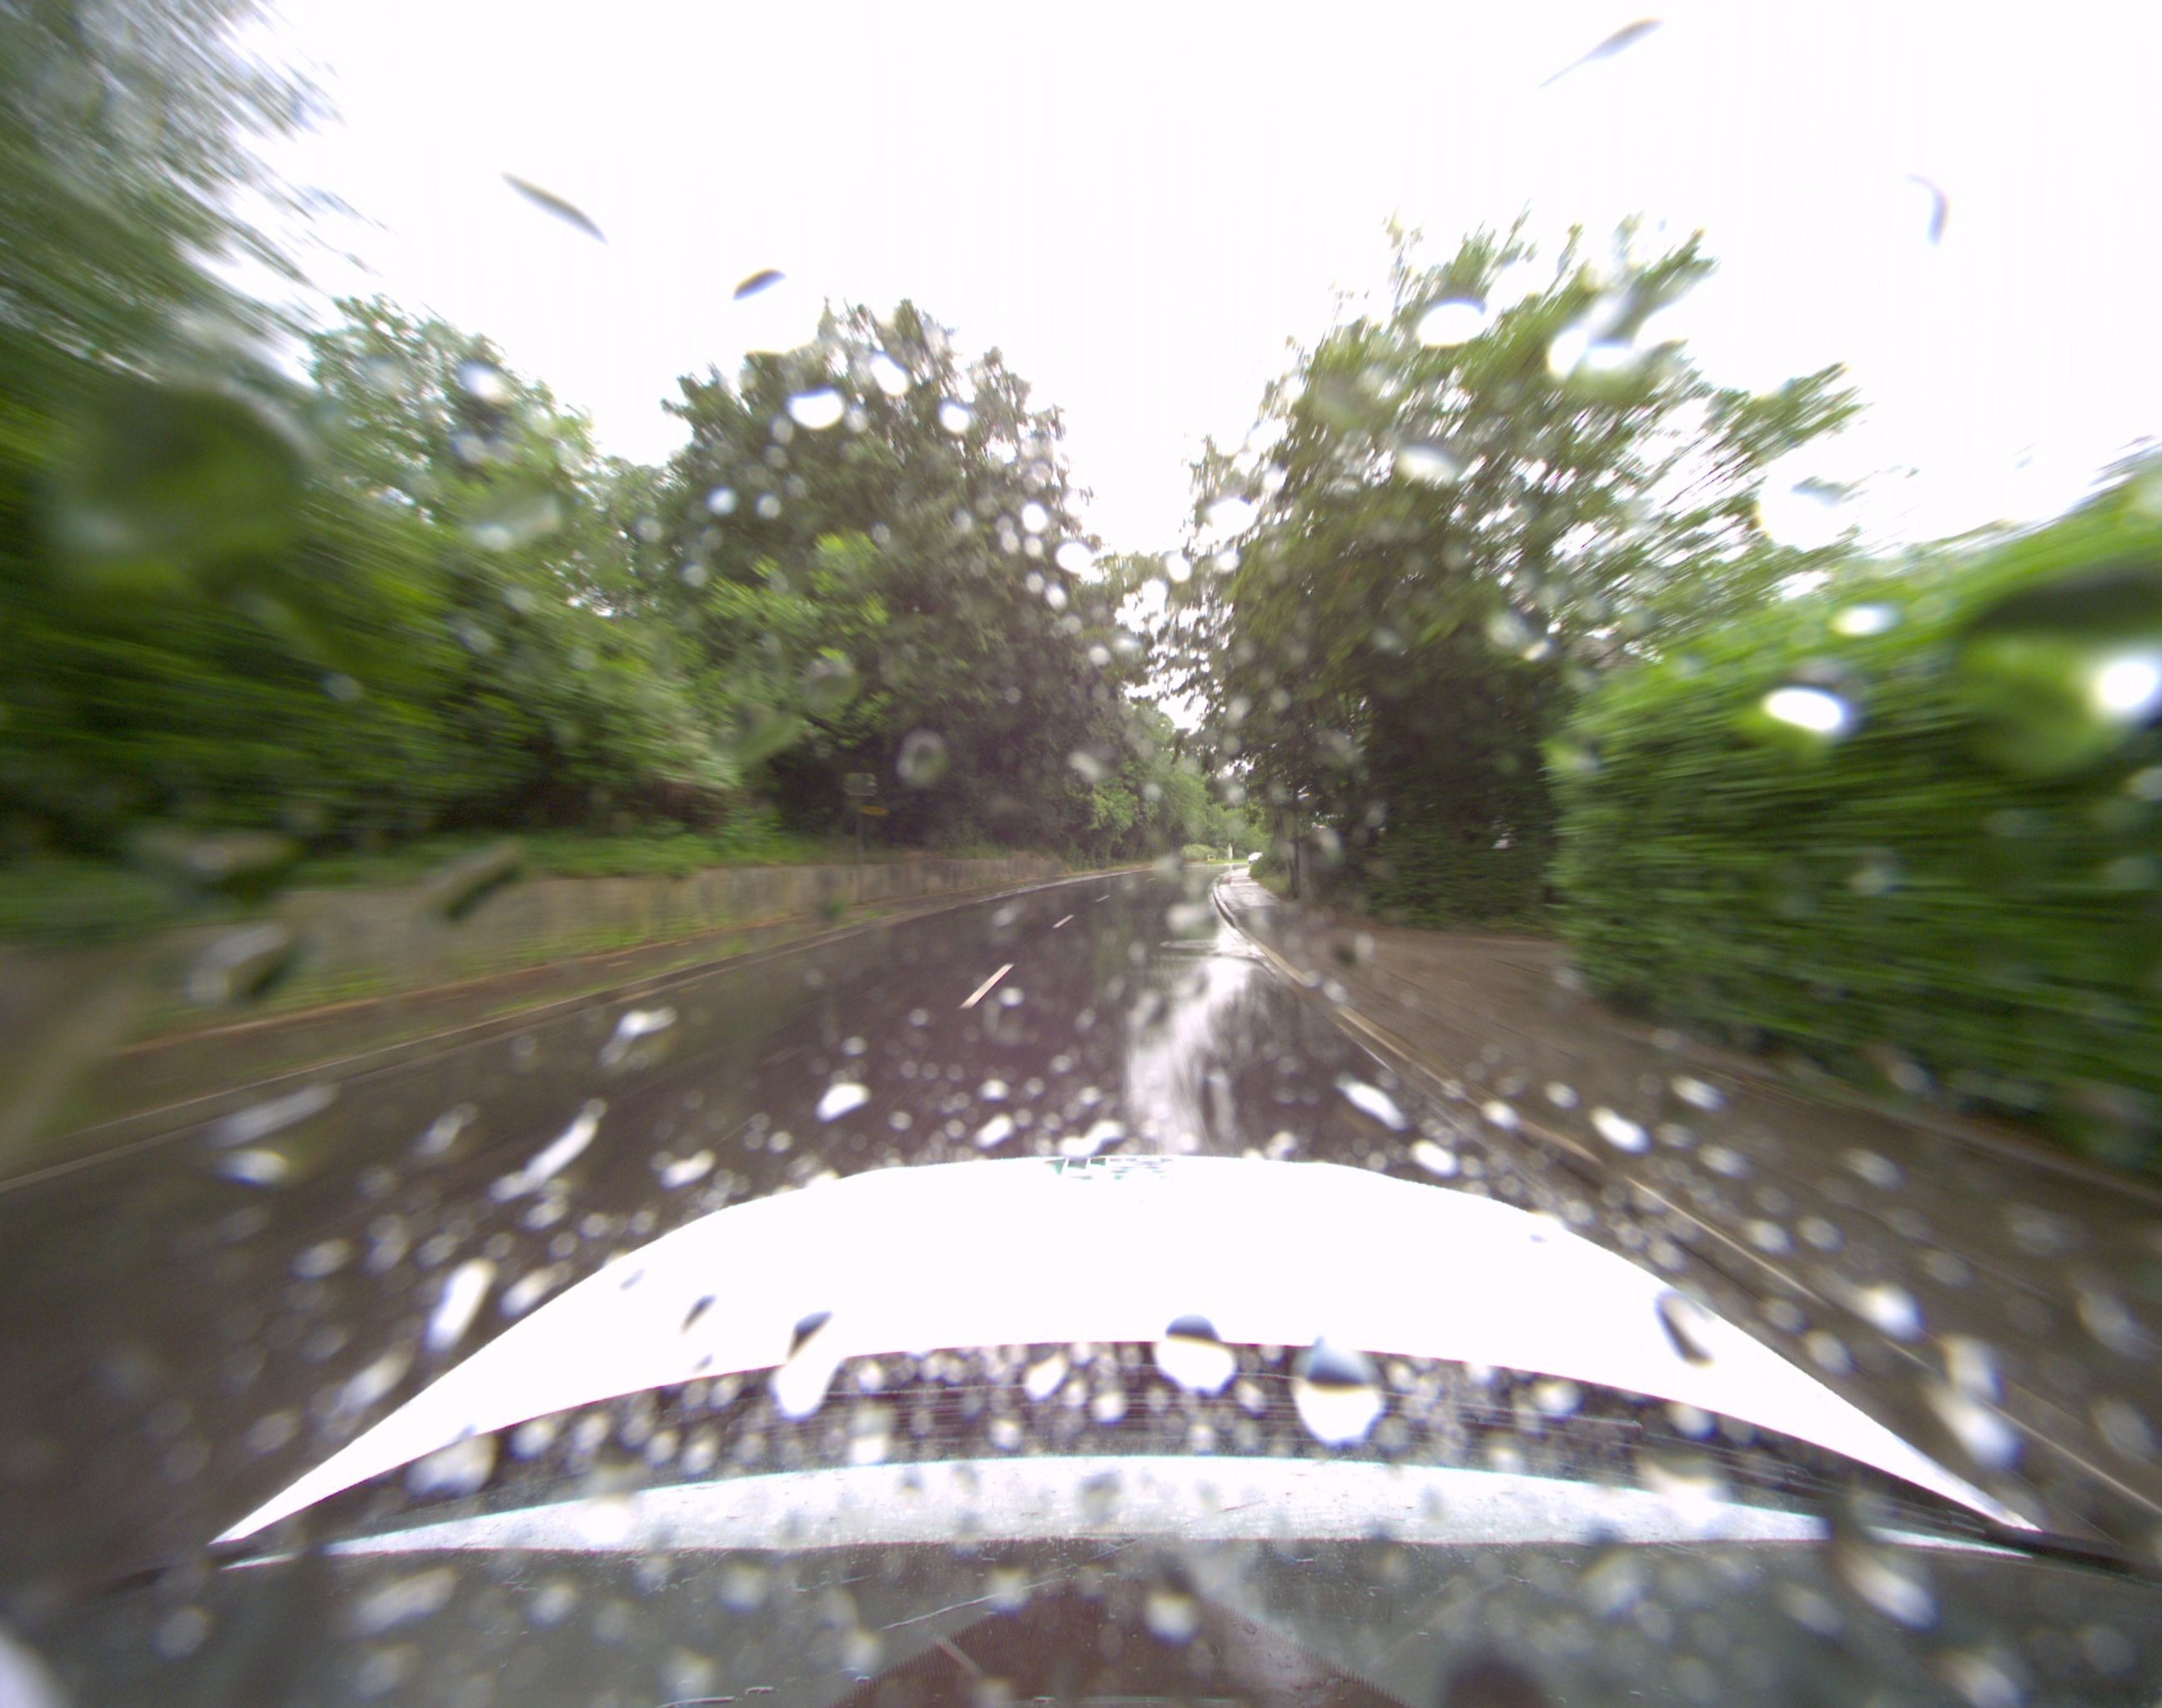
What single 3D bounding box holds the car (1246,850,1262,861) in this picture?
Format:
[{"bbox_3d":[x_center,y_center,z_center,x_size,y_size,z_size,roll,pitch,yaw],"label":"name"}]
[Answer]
[{"bbox_3d":[23.667,0.173,111.199,1.773,1.419,4.653,-1,0,15],"label":"car"}]
